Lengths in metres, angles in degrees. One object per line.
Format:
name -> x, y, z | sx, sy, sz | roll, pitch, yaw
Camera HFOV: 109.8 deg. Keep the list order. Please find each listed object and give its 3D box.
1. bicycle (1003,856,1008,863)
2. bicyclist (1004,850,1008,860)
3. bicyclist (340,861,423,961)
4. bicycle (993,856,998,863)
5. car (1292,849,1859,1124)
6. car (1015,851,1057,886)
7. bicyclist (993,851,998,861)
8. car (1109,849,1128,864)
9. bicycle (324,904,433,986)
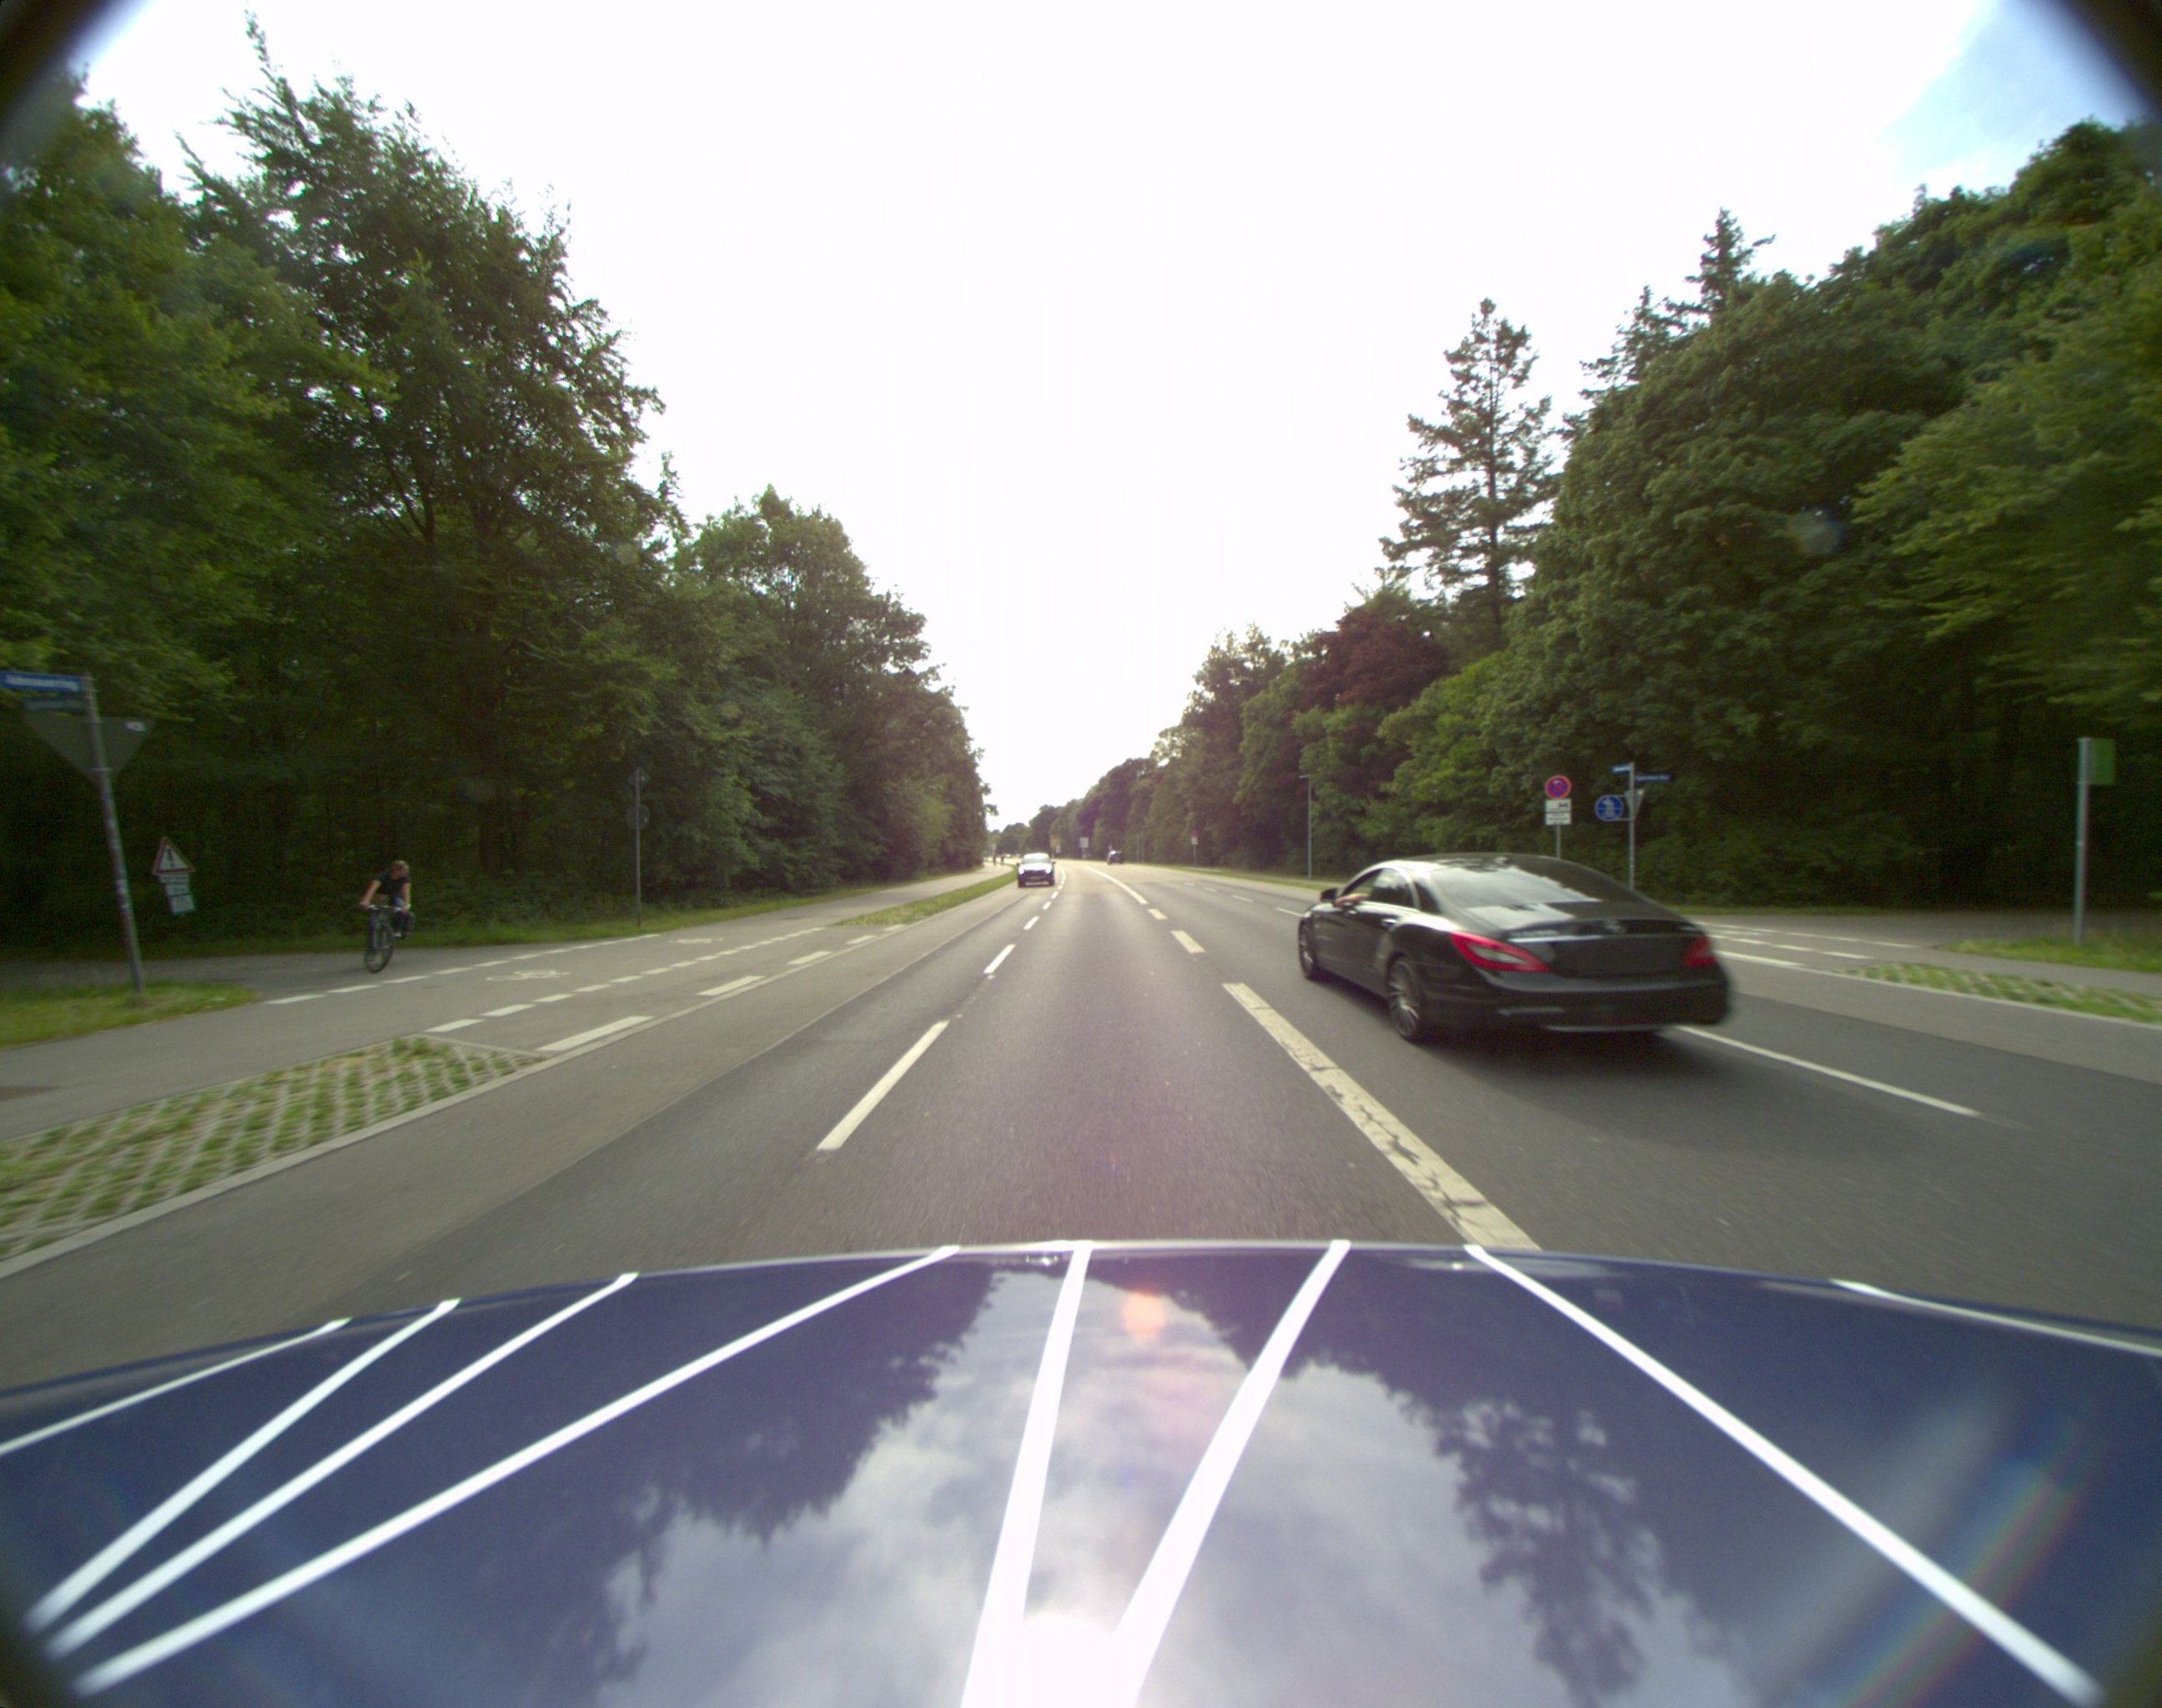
bicycle -> -10.815, 0.812, 108.792 | 0.567, 0.906, 1.753 | 1, 0, -10
bicyclist -> -10.762, 0.195, 108.737 | 0.521, 1.407, 1.185 | -1, 1, -10
bicyclist -> -10.757, 0.843, 11.721 | 0.712, 1.462, 0.899 | -2, 1, -29
bicycle -> -12.153, 0.826, 108.563 | 0.567, 0.906, 1.885 | 1, -1, -10
car -> 3.430, 0.742, 6.637 | 1.998, 1.427, 4.721 | -2, 1, 2
car -> -2.372, 0.727, 40.129 | 1.999, 1.565, 3.998 | -4, 1, -3
bicyclist -> -12.172, 0.231, 108.507 | 0.521, 1.407, 1.185 | -3, 1, -10
car -> 4.850, 0.250, 99.910 | 1.999, 1.781, 4.746 | -4, 1, -2
bicycle -> -10.750, 1.342, 11.716 | 0.712, 0.988, 2.176 | -2, 0, -29
